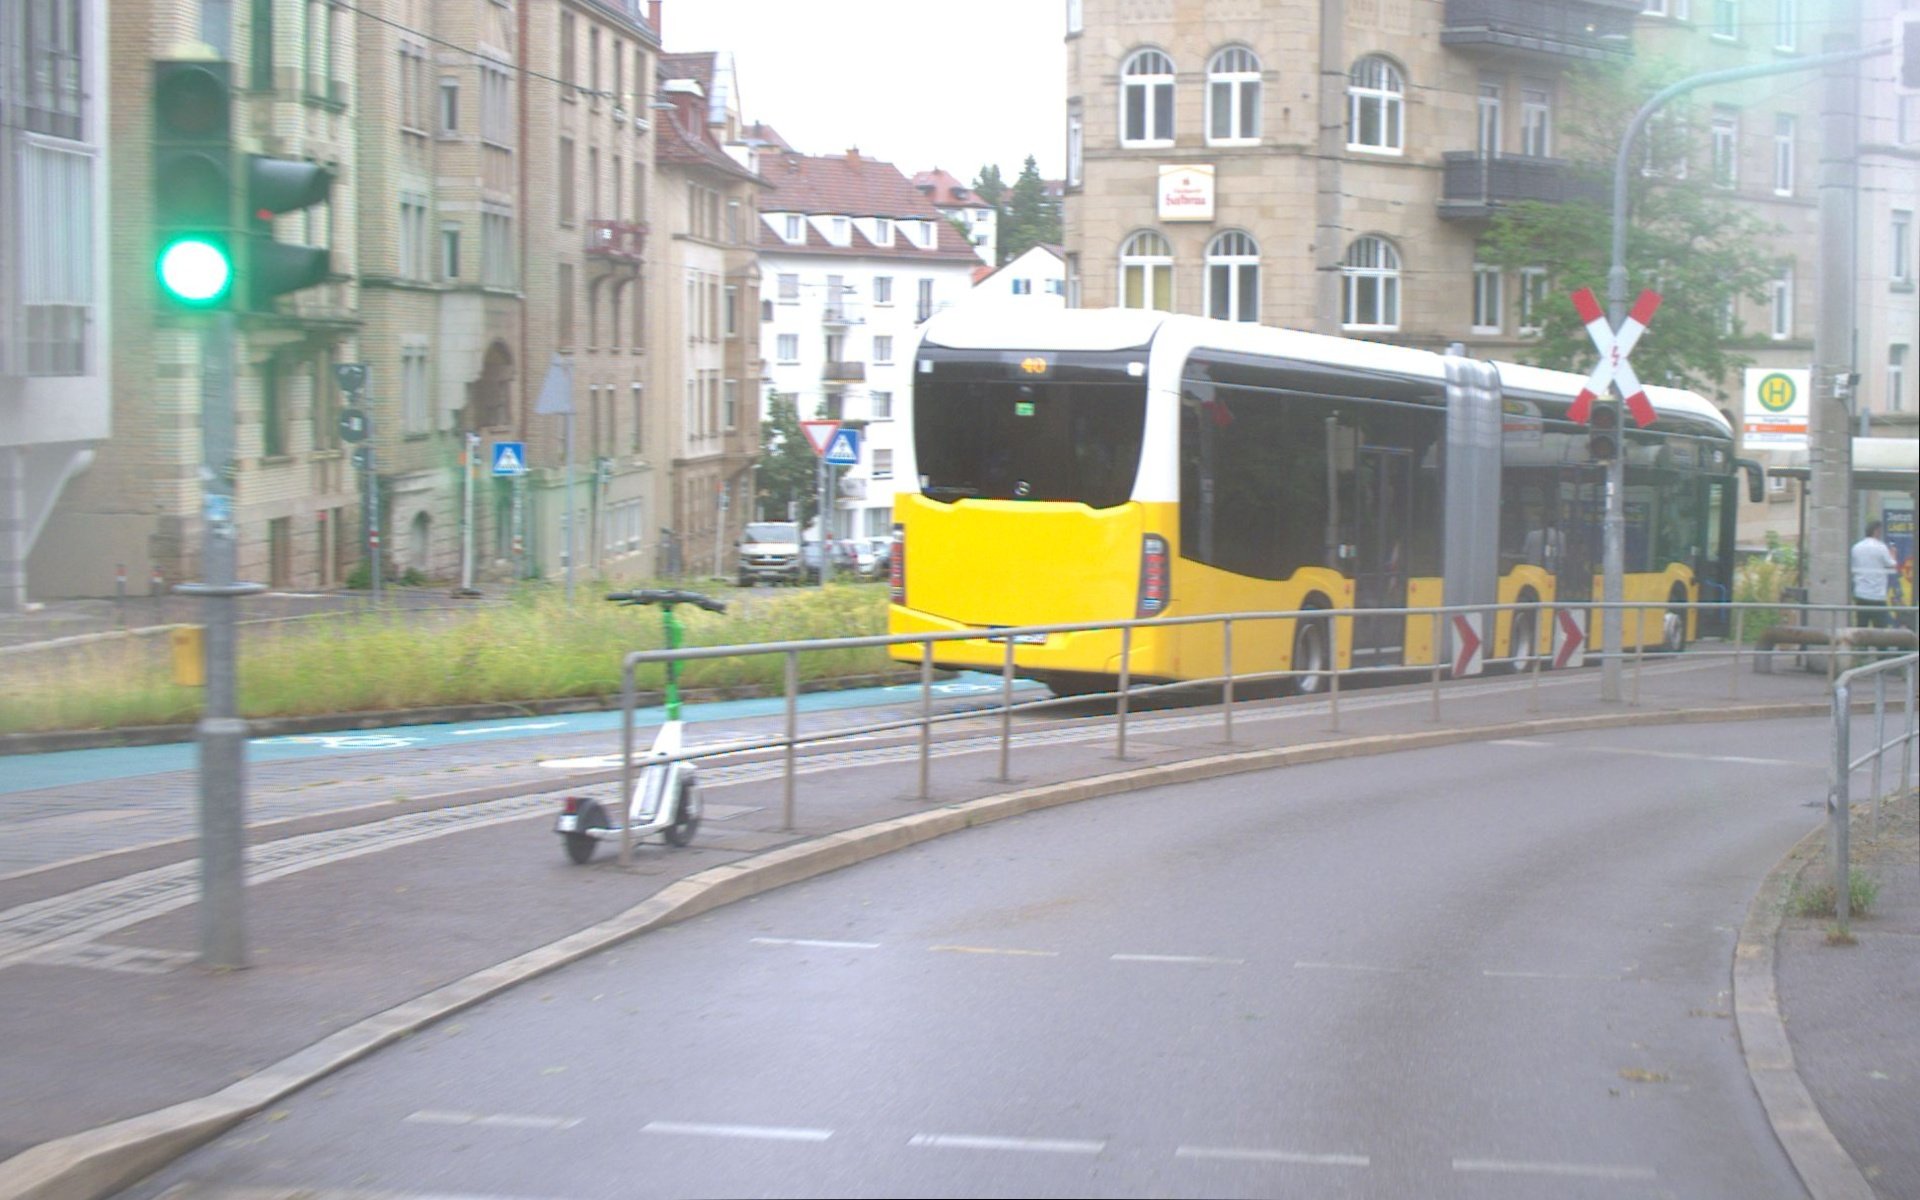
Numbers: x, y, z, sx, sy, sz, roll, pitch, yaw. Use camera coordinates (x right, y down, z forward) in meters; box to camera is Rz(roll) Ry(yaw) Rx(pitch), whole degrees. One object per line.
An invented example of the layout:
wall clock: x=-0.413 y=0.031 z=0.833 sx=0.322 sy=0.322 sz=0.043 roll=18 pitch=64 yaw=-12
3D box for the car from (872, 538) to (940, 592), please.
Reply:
car: x=-2.185 y=-1.435 z=141.178 sx=2.138 sy=2.129 sz=4.856 roll=1 pitch=0 yaw=7

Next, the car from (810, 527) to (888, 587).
car: x=-4.060 y=-1.553 z=126.705 sx=2.138 sy=2.129 sz=4.856 roll=1 pitch=0 yaw=7

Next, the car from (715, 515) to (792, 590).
car: x=-6.274 y=-1.419 z=104.081 sx=2.137 sy=2.129 sz=4.858 roll=2 pitch=0 yaw=-5

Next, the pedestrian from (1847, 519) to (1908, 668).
pedestrian: x=10.906 y=-0.076 z=40.862 sx=0.577 sy=1.746 sz=0.542 roll=2 pitch=0 yaw=25

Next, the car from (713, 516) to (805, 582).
car: x=-6.675 y=-1.687 z=114.857 sx=2.138 sy=2.129 sz=4.855 roll=1 pitch=0 yaw=8

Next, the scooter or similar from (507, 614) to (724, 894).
scooter or similar: x=-1.474 y=0.637 z=14.939 sx=0.433 sy=1.109 sz=1.604 roll=2 pitch=1 yaw=12

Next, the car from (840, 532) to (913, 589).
car: x=-3.204 y=-1.516 z=133.074 sx=2.138 sy=2.129 sz=4.856 roll=1 pitch=0 yaw=7

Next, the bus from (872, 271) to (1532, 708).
bus: x=2.567 y=-0.888 z=31.831 sx=2.594 sy=3.457 sz=9.093 roll=2 pitch=1 yaw=28
